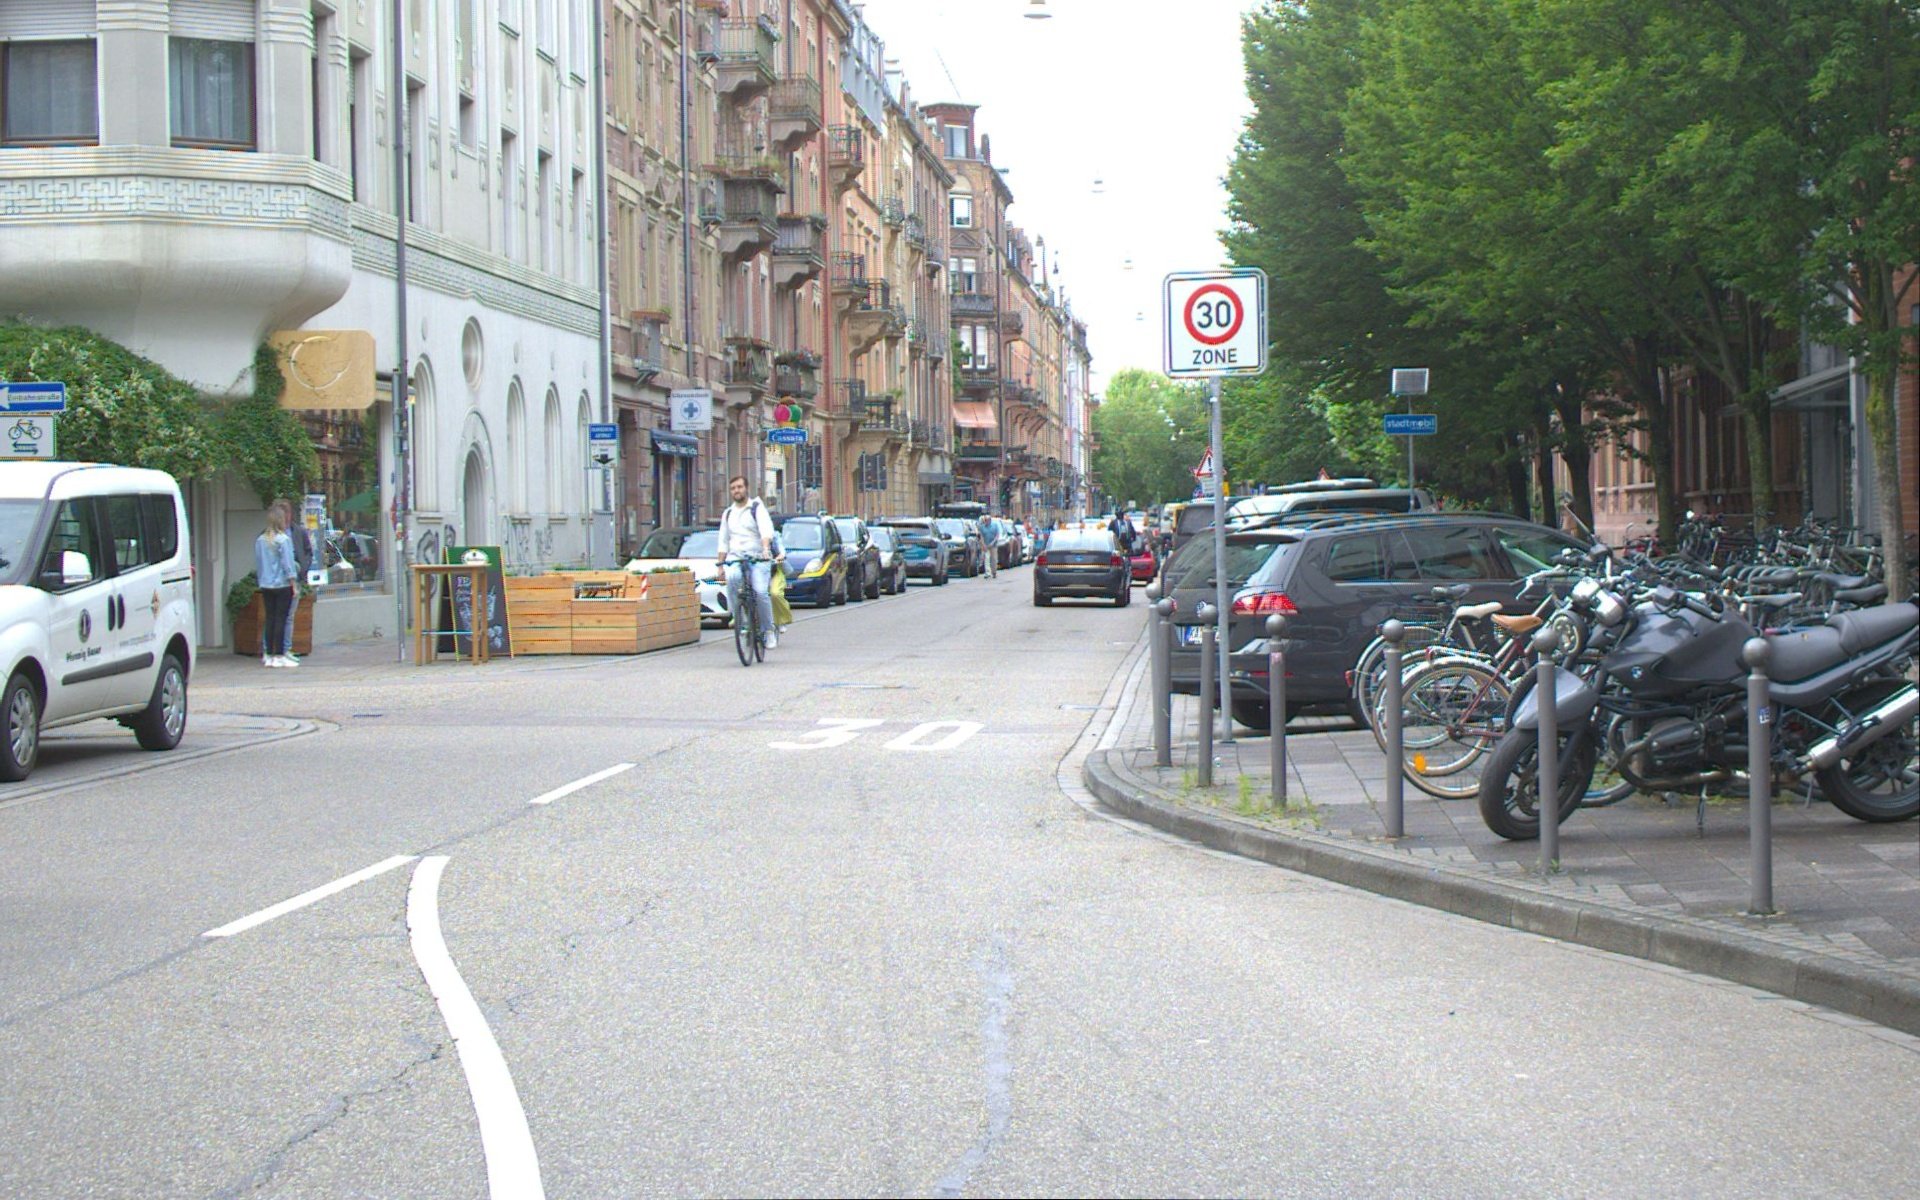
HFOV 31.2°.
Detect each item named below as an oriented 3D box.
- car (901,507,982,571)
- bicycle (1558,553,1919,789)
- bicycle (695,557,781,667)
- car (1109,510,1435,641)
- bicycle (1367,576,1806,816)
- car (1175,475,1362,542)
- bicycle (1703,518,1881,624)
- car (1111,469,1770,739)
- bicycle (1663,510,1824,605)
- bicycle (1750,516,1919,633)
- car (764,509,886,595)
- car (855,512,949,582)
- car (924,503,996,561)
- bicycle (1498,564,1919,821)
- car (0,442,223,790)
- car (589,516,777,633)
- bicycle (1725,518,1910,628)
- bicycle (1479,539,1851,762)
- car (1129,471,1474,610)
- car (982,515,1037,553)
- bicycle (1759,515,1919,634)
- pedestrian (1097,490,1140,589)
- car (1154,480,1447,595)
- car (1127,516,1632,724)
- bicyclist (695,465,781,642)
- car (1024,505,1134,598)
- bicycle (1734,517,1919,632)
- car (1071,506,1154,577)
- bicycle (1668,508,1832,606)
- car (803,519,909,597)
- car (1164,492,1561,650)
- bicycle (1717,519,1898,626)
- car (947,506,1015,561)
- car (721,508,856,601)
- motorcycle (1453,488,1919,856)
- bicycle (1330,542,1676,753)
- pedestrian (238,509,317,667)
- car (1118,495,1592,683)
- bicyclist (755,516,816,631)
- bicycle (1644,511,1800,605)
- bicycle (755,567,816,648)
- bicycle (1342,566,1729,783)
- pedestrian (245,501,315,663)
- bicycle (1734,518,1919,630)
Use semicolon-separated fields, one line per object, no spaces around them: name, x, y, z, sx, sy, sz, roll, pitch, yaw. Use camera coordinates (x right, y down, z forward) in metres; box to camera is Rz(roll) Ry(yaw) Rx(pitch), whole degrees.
car;-0.492;-1.686;94.820;1.944;1.736;3.942;0;1;4
bicycle;3.977;0.337;16.903;1.929;1.073;0.612;-2;0;1
bicycle;-2.329;0.110;36.258;0.567;1.083;1.986;-1;2;5
car;3.987;-0.321;43.727;3.852;1.500;1.771;-3;1;-36
bicycle;2.946;0.444;16.281;1.929;1.040;0.612;-2;0;1
car;9.476;-2.807;105.444;5.385;1.861;1.951;-3;1;-25
bicycle;8.831;-0.306;36.543;1.753;1.088;0.565;-1;0;4
car;3.420;-0.008;24.313;4.273;1.573;1.864;-4;2;-29
bicycle;9.171;-0.494;40.287;1.753;1.088;0.565;-1;0;4
bicycle;8.582;-0.247;32.930;1.895;1.088;0.543;-1;0;4
car;-2.588;-0.949;66.820;1.944;1.611;3.942;0;1;4
car;-1.371;-1.300;82.782;1.944;1.611;3.942;-1;1;3
car;0.028;-2.073;105.614;1.944;1.738;3.942;0;1;4
bicycle;3.493;0.405;15.482;2.009;1.059;0.612;-2;0;1
car;-6.089;0.047;20.789;1.843;1.933;4.547;-1;2;6
car;-3.961;-0.392;49.741;1.944;1.548;3.816;-2;1;7
bicycle;8.760;-0.275;35.156;1.753;1.088;0.565;-1;0;4
bicycle;3.866;0.273;18.932;1.883;1.137;0.612;-2;0;1
car;5.764;-1.009;57.794;5.607;2.120;1.950;-3;1;-30
car;1.821;-2.425;127.269;1.993;1.316;4.000;-1;0;1
bicycle;8.547;-0.244;32.325;1.933;1.088;0.577;-1;0;4
pedestrian;3.477;-1.314;75.409;0.891;2.138;1.028;-1;0;3
car;6.544;-1.203;65.854;5.386;1.985;1.950;-3;1;-30
car;3.314;0.109;27.061;3.554;1.493;1.846;-2;2;-31
bicyclist;-2.358;-0.500;36.578;0.782;1.859;0.714;-1;1;4
car;2.269;-0.888;64.834;1.994;1.675;4.000;-1;0;3
bicycle;8.580;-0.250;33.741;1.836;1.088;0.543;-1;0;4
car;3.797;-1.425;85.317;1.994;1.675;4.000;-1;0;3
bicycle;9.047;-0.489;39.416;1.753;1.088;0.565;-1;0;4
car;-2.202;-0.914;73.989;1.944;1.611;3.942;0;1;3
car;4.510;-0.340;38.492;4.046;1.579;1.771;-3;1;-26
bicycle;8.847;-0.284;35.935;1.753;1.088;0.565;-1;0;4
car;0.711;-2.196;112.378;1.944;1.732;3.942;-1;1;4
car;-3.020;-0.823;61.366;1.944;1.611;3.942;0;1;4
motorcycle;3.207;0.285;14.374;2.134;1.424;0.771;-2;0;1
bicycle;3.147;0.273;20.021;1.883;1.137;0.612;-2;0;1
pedestrian;-7.233;-0.126;36.445;0.579;1.655;0.575;-1;0;25
car;3.767;-0.124;32.732;4.046;1.579;1.904;-3;1;-27
bicyclist;-2.136;-0.323;42.199;0.668;1.394;0.783;-1;0;1
bicycle;9.113;-0.496;41.149;1.753;1.088;0.565;-1;0;4
bicycle;-2.139;0.086;42.308;0.535;0.974;1.865;-1;0;3
bicycle;2.986;0.383;17.941;1.883;1.040;0.612;-2;0;1
pedestrian;-7.357;-0.196;37.173;0.578;1.728;0.506;-1;0;-32
bicycle;8.751;-0.262;34.525;1.836;1.088;0.565;-1;0;4
